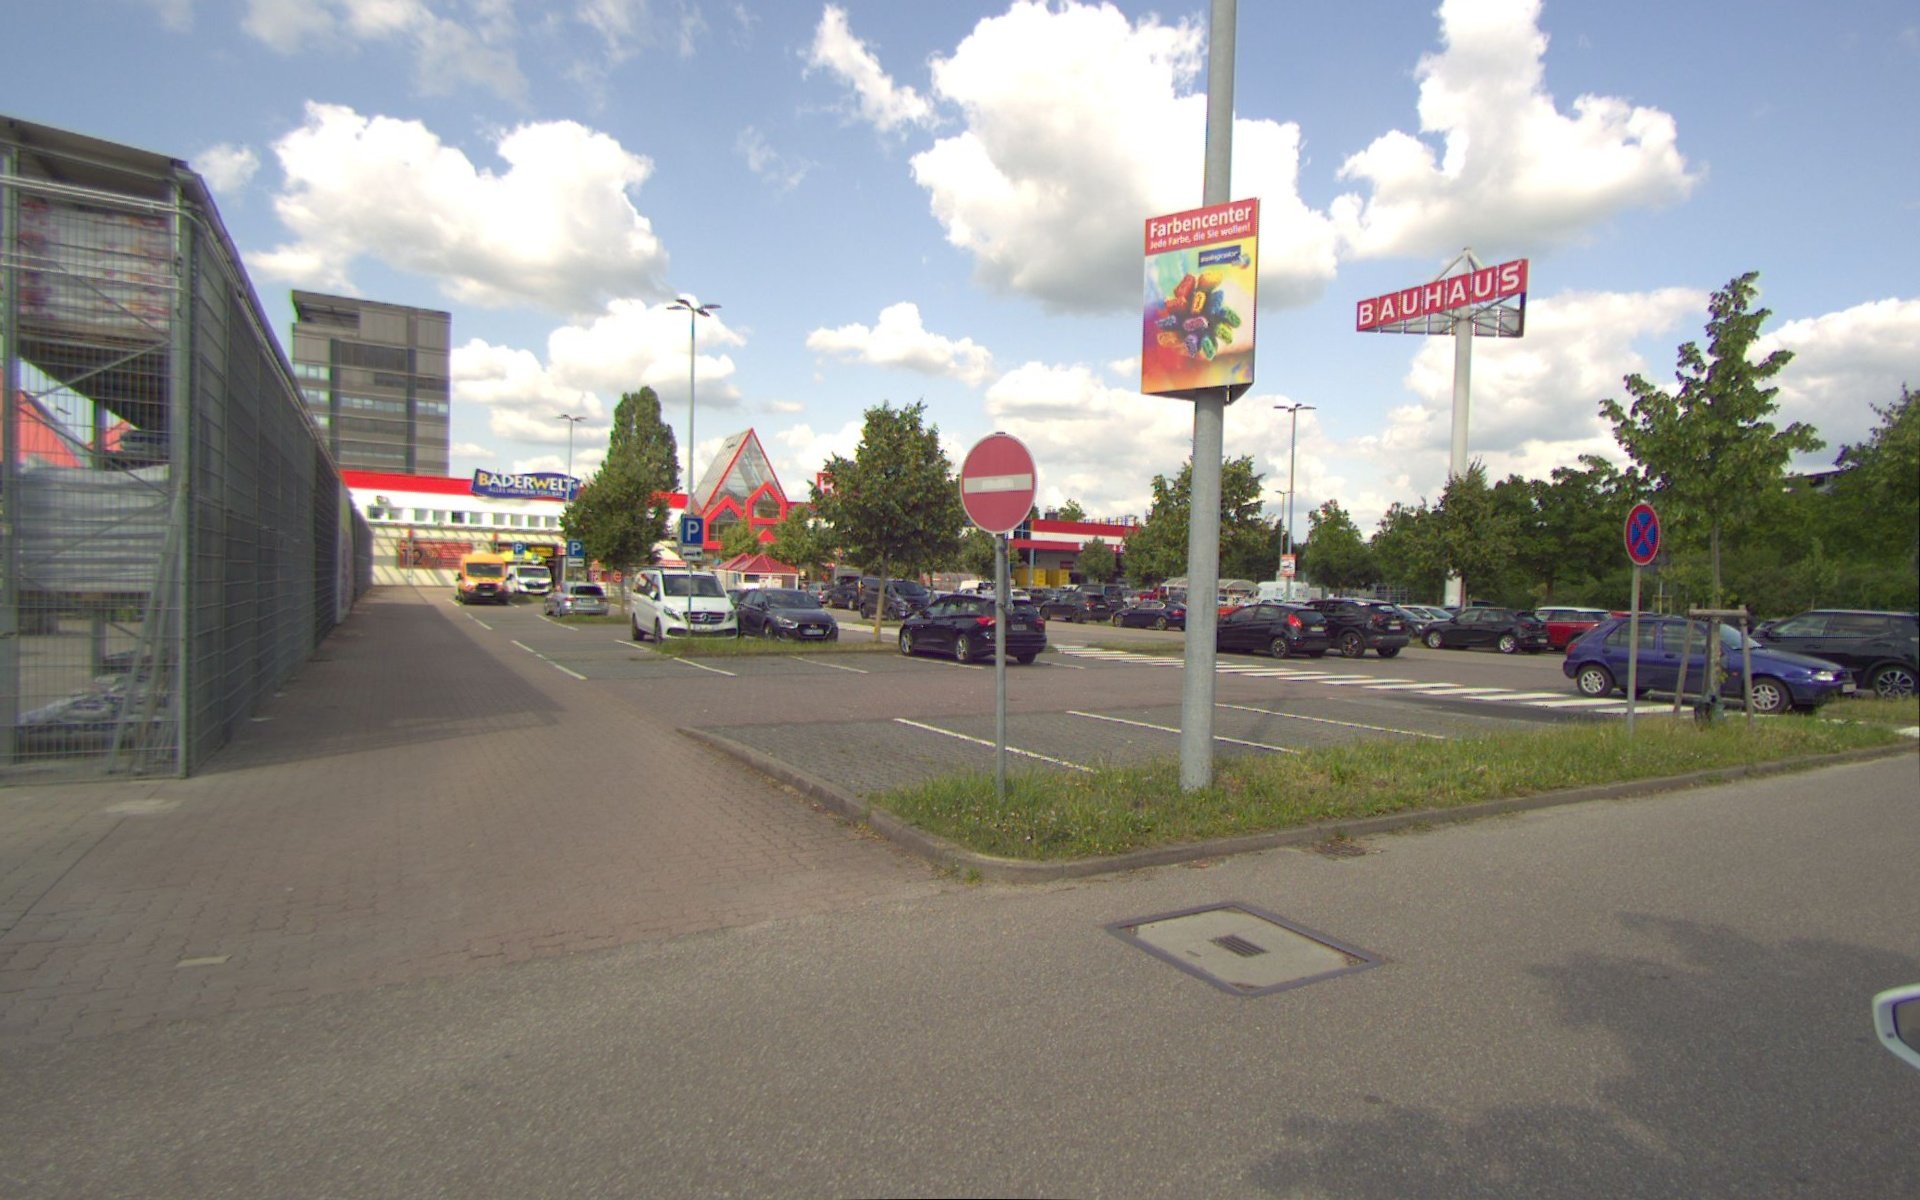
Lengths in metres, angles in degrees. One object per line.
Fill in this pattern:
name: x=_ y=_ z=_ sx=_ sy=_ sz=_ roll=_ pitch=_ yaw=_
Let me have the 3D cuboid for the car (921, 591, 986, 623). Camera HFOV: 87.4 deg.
car: x=-0.360 y=0.330 z=48.393 sx=1.721 sy=1.405 sz=3.536 roll=1 pitch=1 yaw=-27

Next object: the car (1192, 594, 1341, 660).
car: x=8.482 y=0.703 z=28.041 sx=1.766 sy=1.646 sz=3.670 roll=1 pitch=1 yaw=-35

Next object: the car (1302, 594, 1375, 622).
car: x=23.882 y=0.492 z=63.462 sx=1.889 sy=1.617 sz=3.965 roll=1 pitch=1 yaw=-31

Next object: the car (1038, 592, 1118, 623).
car: x=6.231 y=0.382 z=53.537 sx=1.977 sy=1.487 sz=4.379 roll=1 pitch=1 yaw=-30

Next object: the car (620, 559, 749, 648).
car: x=-7.191 y=0.044 z=25.833 sx=1.976 sy=2.041 sz=5.146 roll=1 pitch=1 yaw=-30

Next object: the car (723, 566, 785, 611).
car: x=-12.856 y=-0.732 z=62.445 sx=2.217 sy=2.671 sz=4.287 roll=2 pitch=0 yaw=-35

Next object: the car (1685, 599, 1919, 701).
car: x=16.261 y=0.866 z=18.868 sx=1.714 sy=1.646 sz=3.934 roll=1 pitch=1 yaw=-28

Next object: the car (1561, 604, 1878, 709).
car: x=12.066 y=0.817 z=16.214 sx=1.602 sy=1.386 sz=3.733 roll=1 pitch=1 yaw=-30

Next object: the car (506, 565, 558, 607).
car: x=-23.609 y=-0.759 z=55.296 sx=1.977 sy=2.040 sz=4.768 roll=5 pitch=-1 yaw=-30

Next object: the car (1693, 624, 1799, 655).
car: x=39.440 y=1.966 z=50.485 sx=3.920 sy=1.399 sz=1.700 roll=2 pitch=-1 yaw=3

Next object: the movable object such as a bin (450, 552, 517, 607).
movable object such as a bin: x=-23.280 y=-0.989 z=48.937 sx=2.109 sy=2.527 sz=5.285 roll=1 pitch=1 yaw=-35

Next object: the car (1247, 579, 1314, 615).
car: x=24.610 y=-0.247 z=77.354 sx=2.029 sy=2.543 sz=4.691 roll=2 pitch=1 yaw=-29

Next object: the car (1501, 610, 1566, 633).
car: x=40.105 y=1.500 z=70.298 sx=3.571 sy=1.487 sz=1.635 roll=2 pitch=-1 yaw=4

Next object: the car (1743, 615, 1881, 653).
car: x=38.402 y=1.510 z=45.377 sx=4.560 sy=1.524 sz=1.785 roll=1 pitch=1 yaw=4

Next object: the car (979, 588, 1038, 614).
car: x=3.066 y=0.049 z=64.427 sx=1.977 sy=1.529 sz=3.967 roll=1 pitch=1 yaw=-30

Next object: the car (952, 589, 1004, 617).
car: x=1.098 y=0.158 z=61.926 sx=1.709 sy=1.528 sz=3.209 roll=5 pitch=-1 yaw=-31

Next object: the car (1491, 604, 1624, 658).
car: x=20.011 y=1.006 z=33.751 sx=1.691 sy=1.602 sz=3.417 roll=1 pitch=1 yaw=-32

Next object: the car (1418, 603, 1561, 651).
car: x=17.450 y=0.849 z=33.272 sx=1.710 sy=1.387 sz=3.849 roll=1 pitch=1 yaw=-32

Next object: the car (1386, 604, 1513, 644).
car: x=19.508 y=0.928 z=40.205 sx=1.874 sy=1.371 sz=4.243 roll=1 pitch=1 yaw=-32

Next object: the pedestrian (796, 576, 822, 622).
pedestrian: x=-6.720 y=-0.051 z=44.681 sx=0.808 sy=2.041 sz=0.907 roll=1 pitch=1 yaw=-32

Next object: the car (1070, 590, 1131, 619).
car: x=9.466 y=0.269 z=67.745 sx=1.978 sy=1.802 sz=3.964 roll=1 pitch=1 yaw=-32

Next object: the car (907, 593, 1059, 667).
car: x=0.443 y=0.612 z=22.153 sx=1.792 sy=1.423 sz=3.325 roll=1 pitch=1 yaw=-33

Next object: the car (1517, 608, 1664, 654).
car: x=22.246 y=1.068 z=35.571 sx=1.747 sy=1.417 sz=4.052 roll=1 pitch=1 yaw=-32

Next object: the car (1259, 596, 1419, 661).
car: x=10.770 y=0.762 z=28.811 sx=1.764 sy=1.646 sz=4.049 roll=1 pitch=1 yaw=-31

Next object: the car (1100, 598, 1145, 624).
car: x=11.651 y=0.798 z=72.058 sx=1.584 sy=1.767 sz=3.140 roll=0 pitch=1 yaw=-31

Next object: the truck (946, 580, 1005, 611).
truck: x=1.049 y=-0.319 z=73.015 sx=1.838 sy=2.040 sz=5.368 roll=5 pitch=-1 yaw=-28
